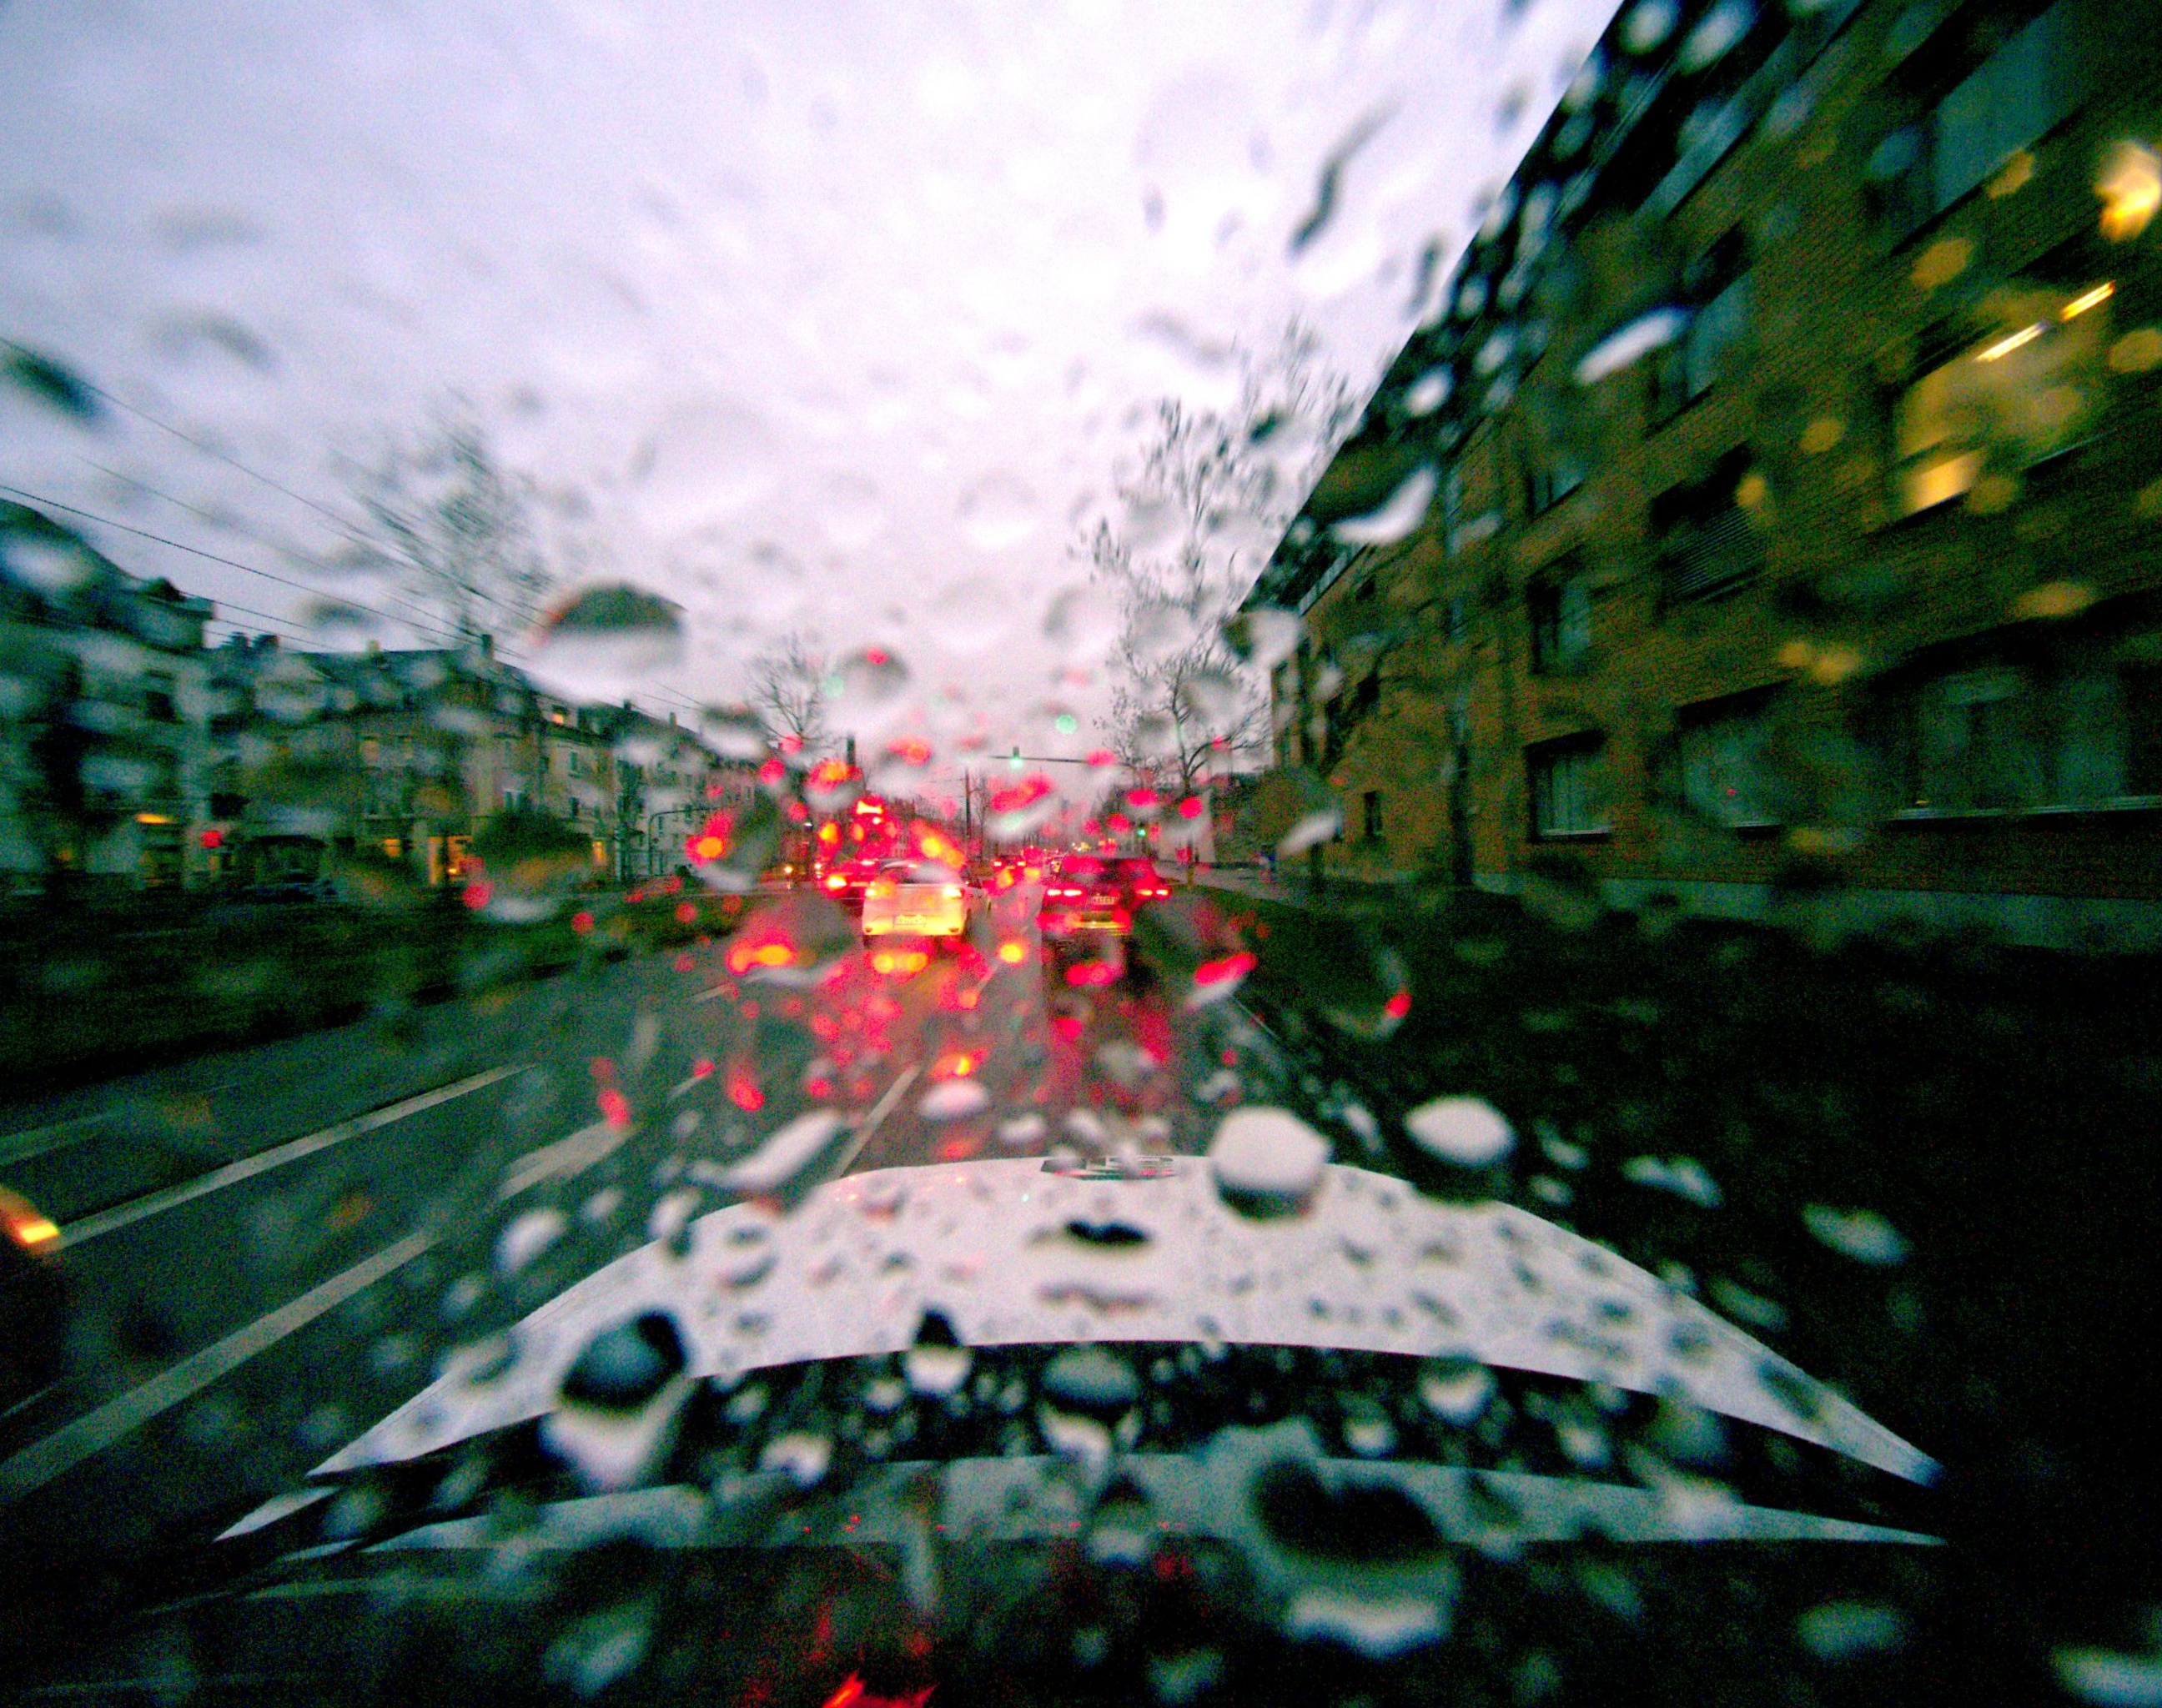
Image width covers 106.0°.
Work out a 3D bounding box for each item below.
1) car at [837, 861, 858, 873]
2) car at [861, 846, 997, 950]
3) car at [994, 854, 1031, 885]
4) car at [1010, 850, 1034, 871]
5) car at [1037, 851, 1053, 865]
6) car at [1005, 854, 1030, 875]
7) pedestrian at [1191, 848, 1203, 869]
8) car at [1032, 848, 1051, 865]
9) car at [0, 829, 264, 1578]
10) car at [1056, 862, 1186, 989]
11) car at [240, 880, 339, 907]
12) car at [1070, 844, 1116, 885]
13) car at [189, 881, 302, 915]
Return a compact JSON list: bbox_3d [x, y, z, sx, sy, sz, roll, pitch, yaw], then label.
[{"bbox_3d":[-31.695,1.743,110.597,1.771,1.354,3.555,-3,0,-1],"label":"car"},{"bbox_3d":[-2.608,0.696,14.887,1.666,1.600,4.053,-1,0,0],"label":"car"},{"bbox_3d":[-3.839,0.848,46.114,1.666,1.600,4.053,-1,0,0],"label":"car"},{"bbox_3d":[-5.768,0.675,80.166,1.986,2.014,4.001,0,-1,1],"label":"car"},{"bbox_3d":[-5.147,0.585,117.606,1.986,2.014,4.001,0,-1,1],"label":"car"},{"bbox_3d":[-5.133,0.839,66.523,1.666,1.600,4.053,-1,0,0],"label":"car"},{"bbox_3d":[9.018,0.321,63.427,0.620,1.610,1.065,-2,0,-4],"label":"pedestrian"},{"bbox_3d":[-4.736,0.359,99.051,1.986,2.014,4.001,0,-1,1],"label":"car"},{"bbox_3d":[-3.278,0.763,0.275,1.802,1.600,4.055,-1,0,2],"label":"car"},{"bbox_3d":[0.541,0.952,12.656,1.666,1.600,4.053,-1,0,0],"label":"car"},{"bbox_3d":[-48.918,2.446,50.413,3.981,1.420,1.996,-2,0,-6],"label":"car"},{"bbox_3d":[0.570,0.471,38.489,1.987,1.744,4.000,-2,0,0],"label":"car"},{"bbox_3d":[-44.174,2.311,43.110,3.975,1.486,1.794,-2,0,-1],"label":"car"}]
